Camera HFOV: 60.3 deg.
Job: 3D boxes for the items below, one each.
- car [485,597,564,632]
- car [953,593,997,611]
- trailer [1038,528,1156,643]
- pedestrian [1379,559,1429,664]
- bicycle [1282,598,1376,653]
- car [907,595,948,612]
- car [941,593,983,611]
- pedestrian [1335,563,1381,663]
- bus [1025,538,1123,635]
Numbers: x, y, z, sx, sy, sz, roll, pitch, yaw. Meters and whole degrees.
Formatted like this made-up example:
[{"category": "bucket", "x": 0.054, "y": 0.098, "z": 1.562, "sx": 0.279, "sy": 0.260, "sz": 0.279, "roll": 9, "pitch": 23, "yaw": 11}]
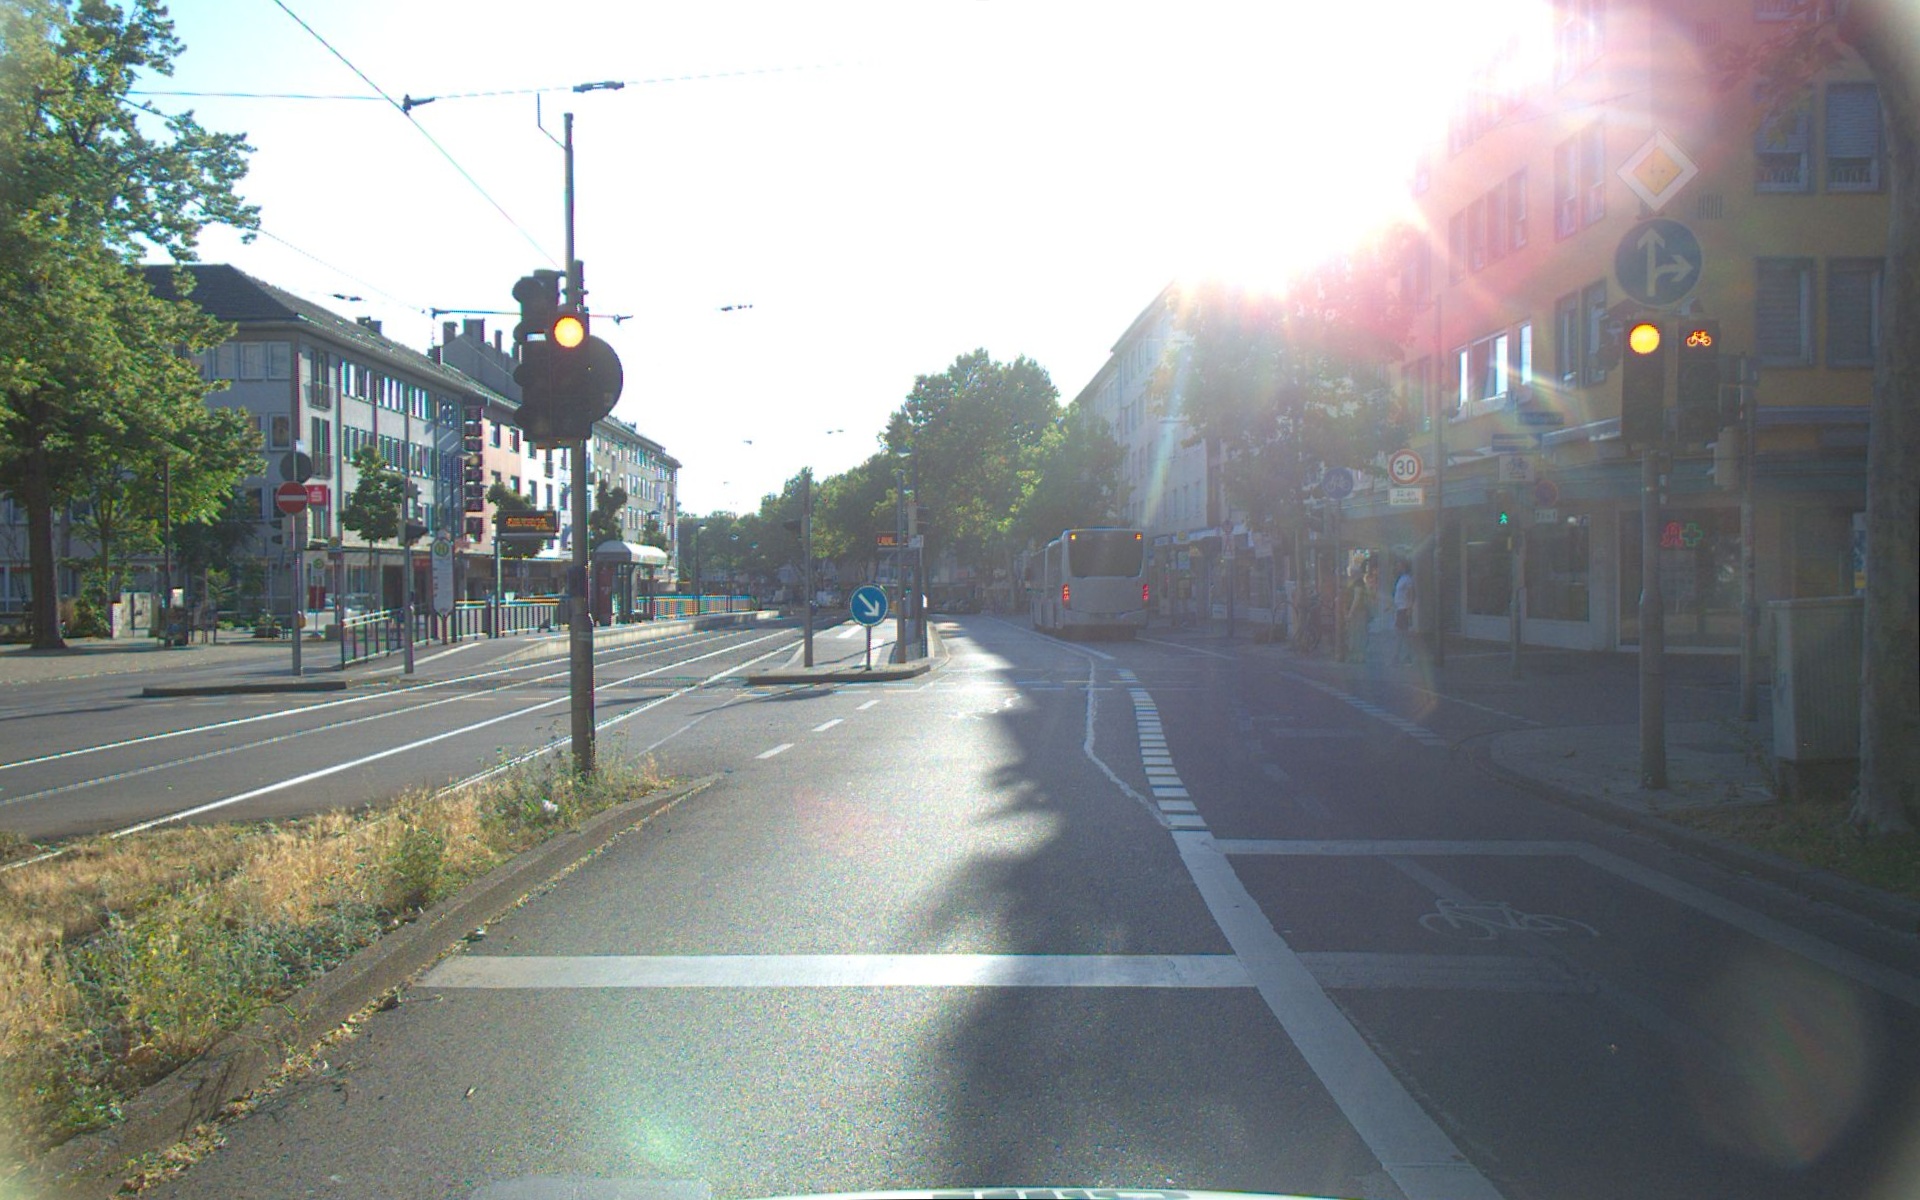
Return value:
[{"category": "car", "x": -24.249, "y": 0.791, "z": 92.025, "sx": 3.940, "sy": 1.847, "sz": 1.982, "roll": -1, "pitch": 1, "yaw": -27}, {"category": "car", "x": 1.476, "y": 0.210, "z": 161.313, "sx": 3.848, "sy": 1.729, "sz": 1.815, "roll": -1, "pitch": 1, "yaw": -30}, {"category": "trailer", "x": 4.078, "y": -0.437, "z": 51.023, "sx": 2.755, "sy": 3.164, "sz": 8.793, "roll": 1, "pitch": 0, "yaw": -1}, {"category": "pedestrian", "x": 7.697, "y": 0.196, "z": 28.683, "sx": 0.666, "sy": 1.801, "sz": 0.687, "roll": -1, "pitch": 0, "yaw": 0}, {"category": "bicycle", "x": 7.550, "y": 0.516, "z": 33.876, "sx": 1.737, "sy": 1.039, "sz": 0.694, "roll": -2, "pitch": 0, "yaw": -1}, {"category": "car", "x": -3.349, "y": 0.355, "z": 168.829, "sx": 3.848, "sy": 1.624, "sz": 1.675, "roll": -1, "pitch": 1, "yaw": -30}, {"category": "car", "x": 0.208, "y": 0.190, "z": 164.273, "sx": 3.848, "sy": 1.729, "sz": 1.815, "roll": -1, "pitch": 1, "yaw": -30}, {"category": "pedestrian", "x": 7.288, "y": 0.228, "z": 30.319, "sx": 0.666, "sy": 1.801, "sz": 0.687, "roll": -1, "pitch": 0, "yaw": 0}, {"category": "bus", "x": 3.985, "y": -0.475, "z": 59.954, "sx": 2.755, "sy": 3.155, "sz": 9.093, "roll": 1, "pitch": 0, "yaw": -1}]
